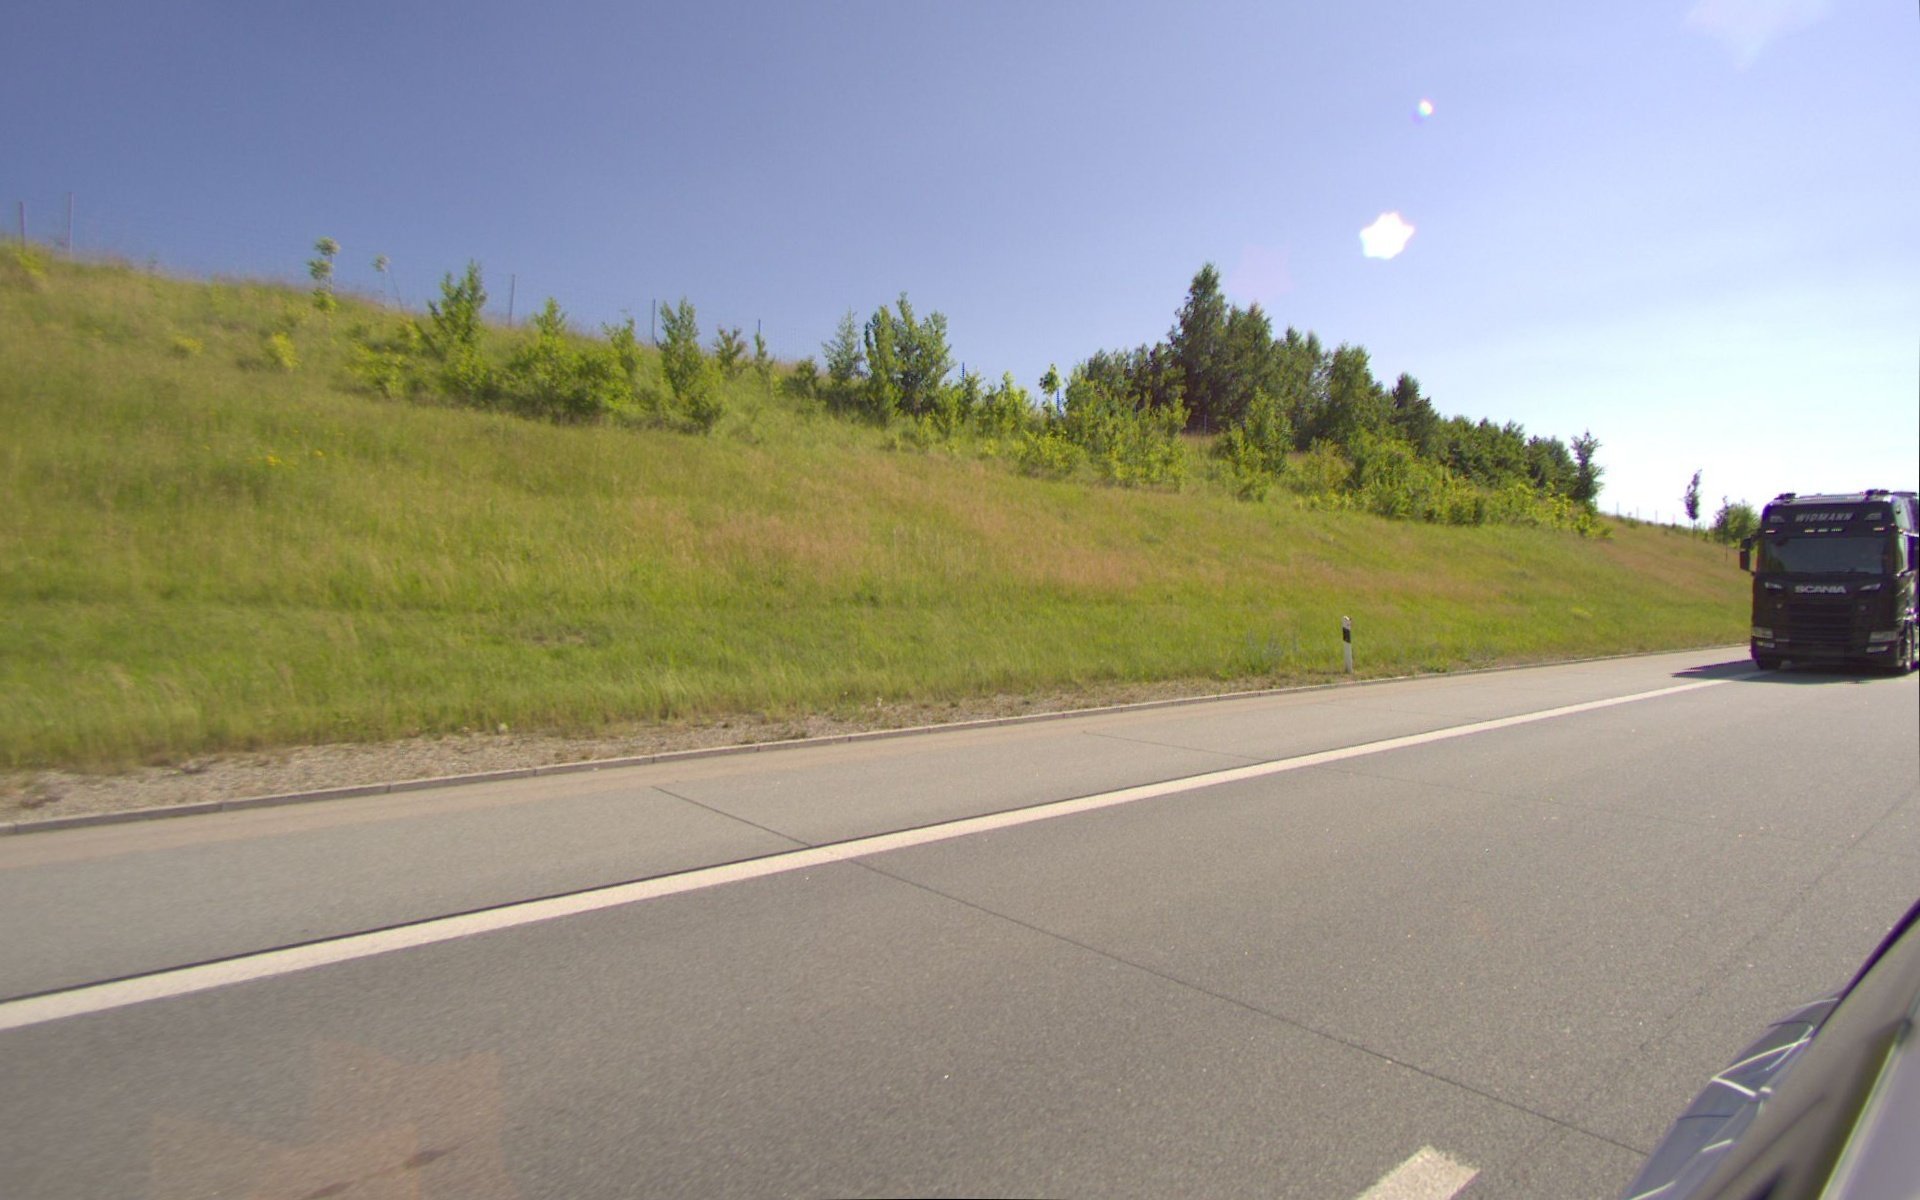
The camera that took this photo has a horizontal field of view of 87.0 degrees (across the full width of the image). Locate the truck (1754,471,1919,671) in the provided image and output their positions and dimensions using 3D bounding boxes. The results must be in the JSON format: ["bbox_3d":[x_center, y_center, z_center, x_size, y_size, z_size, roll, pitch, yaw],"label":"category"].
[{"bbox_3d":[22.729,-0.617,24.802,13.167,3.865,2.621,0,1,-41],"label":"truck"}]
